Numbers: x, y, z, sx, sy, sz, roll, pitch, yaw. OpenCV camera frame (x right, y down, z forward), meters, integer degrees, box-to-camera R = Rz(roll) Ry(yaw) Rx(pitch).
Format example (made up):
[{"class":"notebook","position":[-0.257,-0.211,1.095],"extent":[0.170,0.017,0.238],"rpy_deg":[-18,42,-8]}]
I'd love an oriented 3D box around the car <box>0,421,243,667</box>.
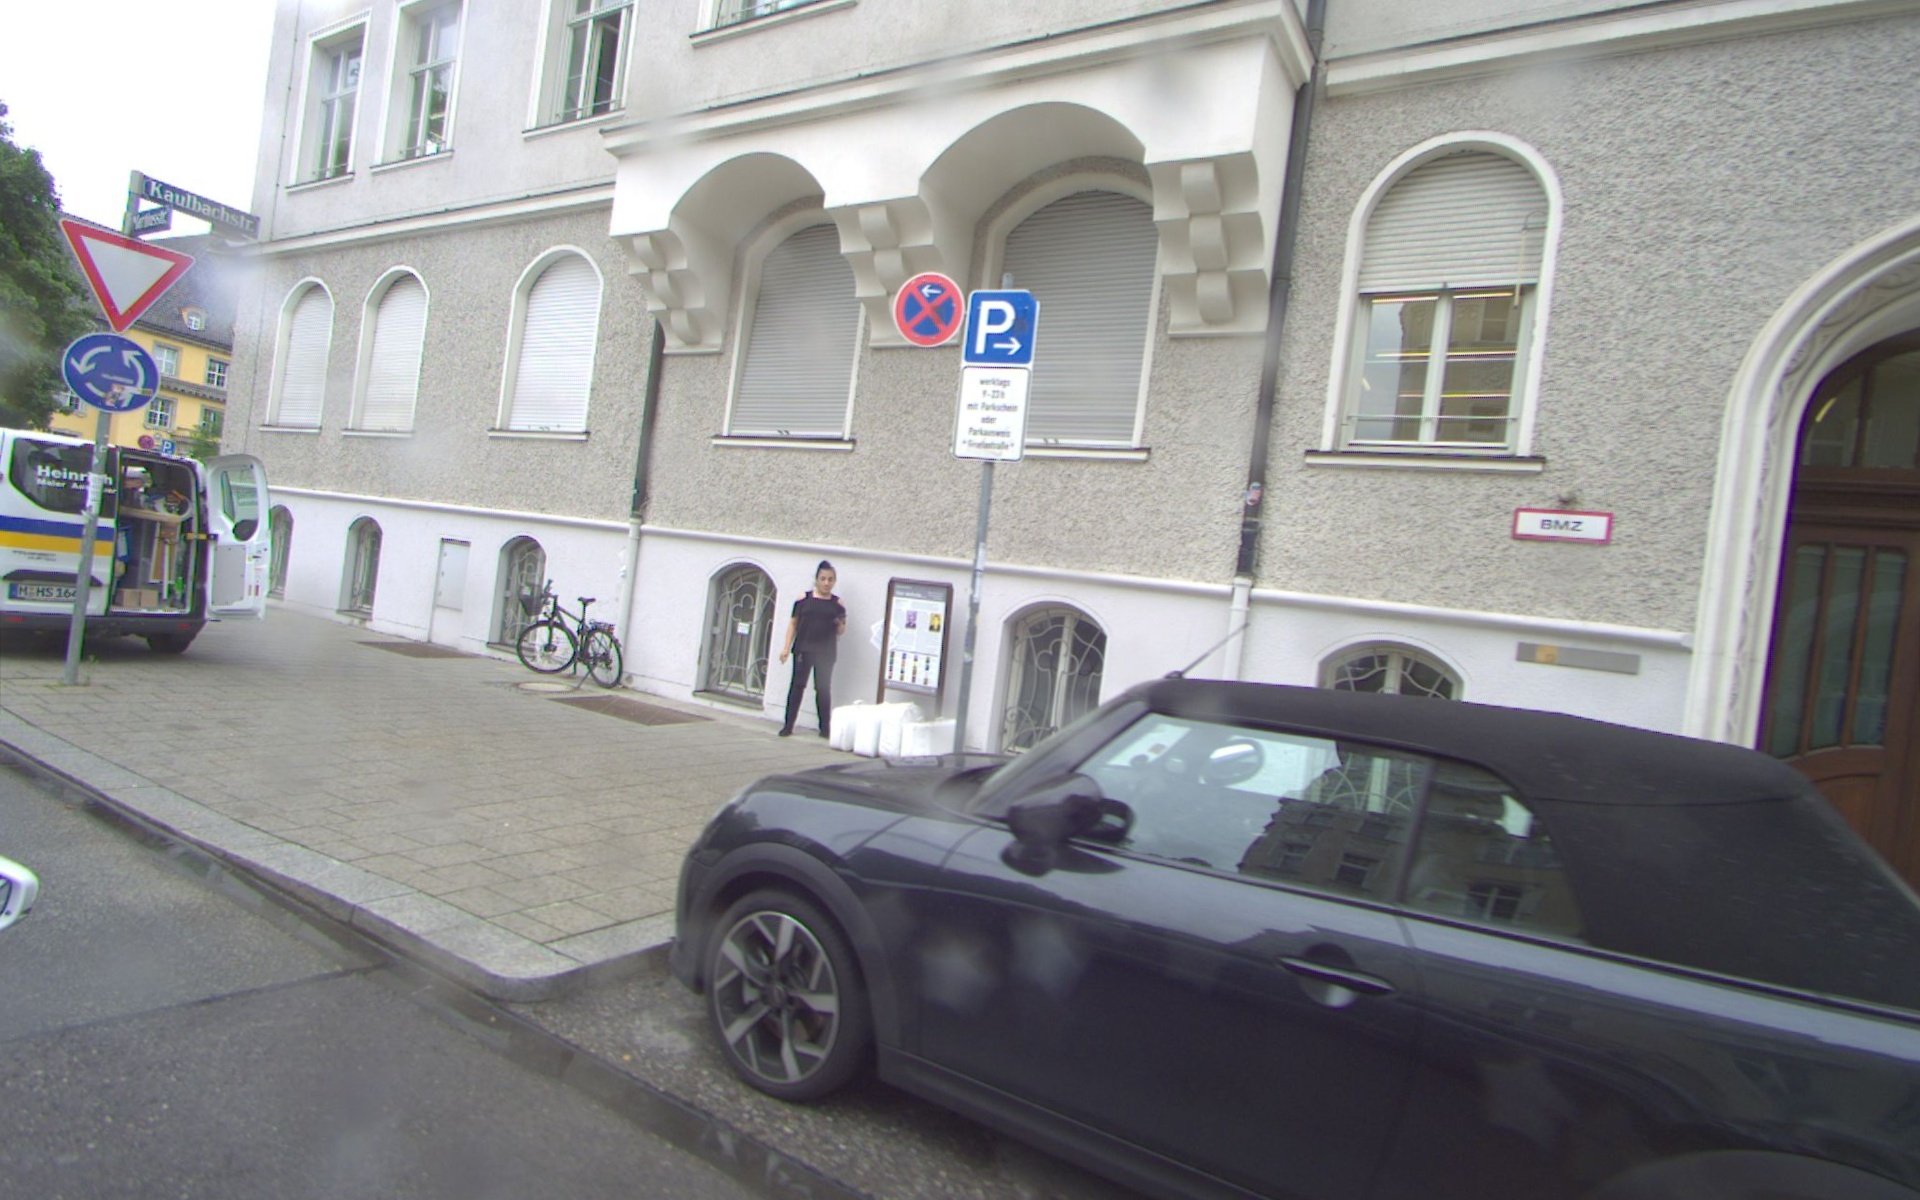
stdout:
[{"class":"car","position":[-9.492,-0.667,9.977],"extent":[4.843,1.987,1.918],"rpy_deg":[7,1,30]}]

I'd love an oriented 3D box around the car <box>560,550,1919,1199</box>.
[{"class":"car","position":[0.761,0.837,3.145],"extent":[3.831,1.475,1.666],"rpy_deg":[7,0,32]}]

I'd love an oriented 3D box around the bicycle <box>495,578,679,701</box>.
[{"class":"bicycle","position":[-4.368,0.431,11.690],"extent":[2.245,1.108,0.694],"rpy_deg":[7,2,32]}]

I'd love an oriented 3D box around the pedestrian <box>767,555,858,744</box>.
[{"class":"pedestrian","position":[-1.459,0.473,9.859],"extent":[0.724,1.760,0.691],"rpy_deg":[3,2,-14]}]
